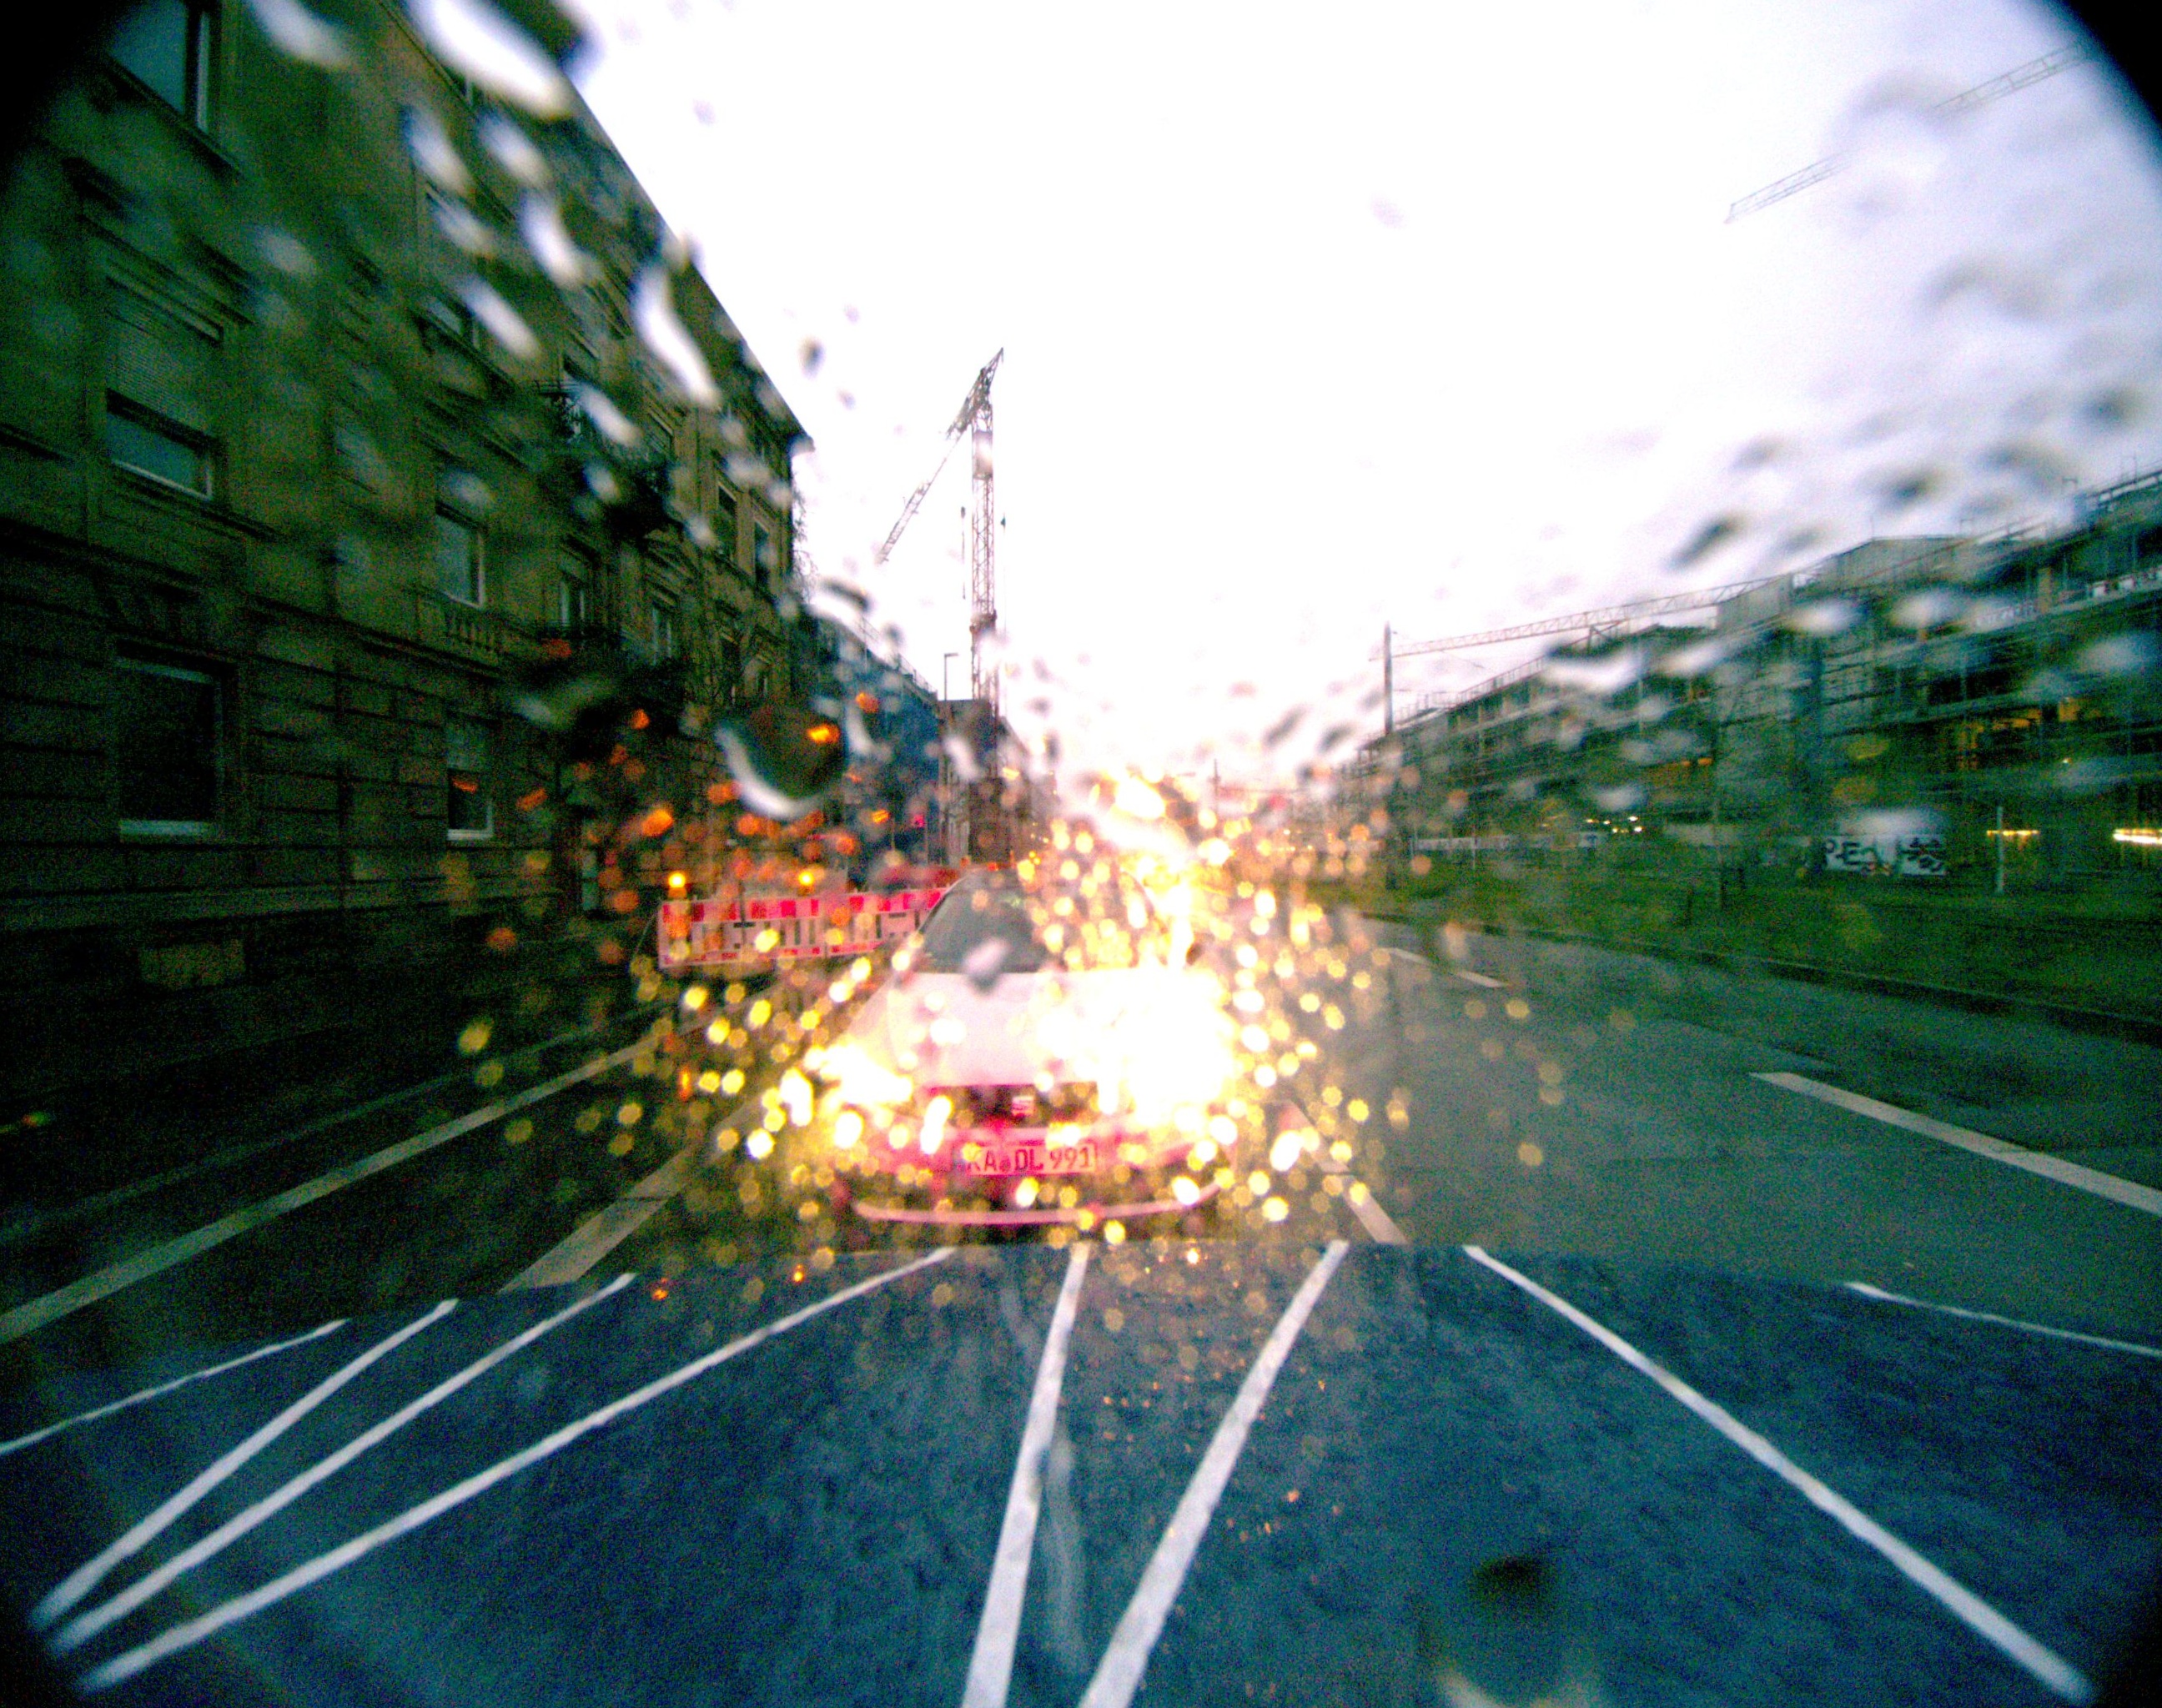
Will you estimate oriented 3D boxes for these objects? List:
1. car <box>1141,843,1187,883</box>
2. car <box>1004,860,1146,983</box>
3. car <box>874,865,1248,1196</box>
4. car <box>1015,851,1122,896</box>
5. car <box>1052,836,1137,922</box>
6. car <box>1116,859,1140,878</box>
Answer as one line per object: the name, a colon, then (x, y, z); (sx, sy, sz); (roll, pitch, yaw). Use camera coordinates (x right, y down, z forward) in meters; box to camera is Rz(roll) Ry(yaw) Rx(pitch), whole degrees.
car: (3.877, 0.384, 36.120); (1.857, 1.723, 4.000); (-2, 1, 2)
car: (-0.119, 0.878, 11.761); (1.764, 1.443, 3.999); (-2, 1, -1)
car: (-0.133, 0.888, 5.704); (1.764, 1.443, 3.999); (-2, 1, -1)
car: (-0.513, 0.788, 32.107); (4.321, 1.644, 1.845); (-2, 1, -1)
car: (0.273, 0.555, 19.260); (1.858, 1.886, 3.999); (-2, 1, -1)
car: (4.069, 1.240, 66.258); (1.844, 1.547, 4.000); (-2, 1, 1)
